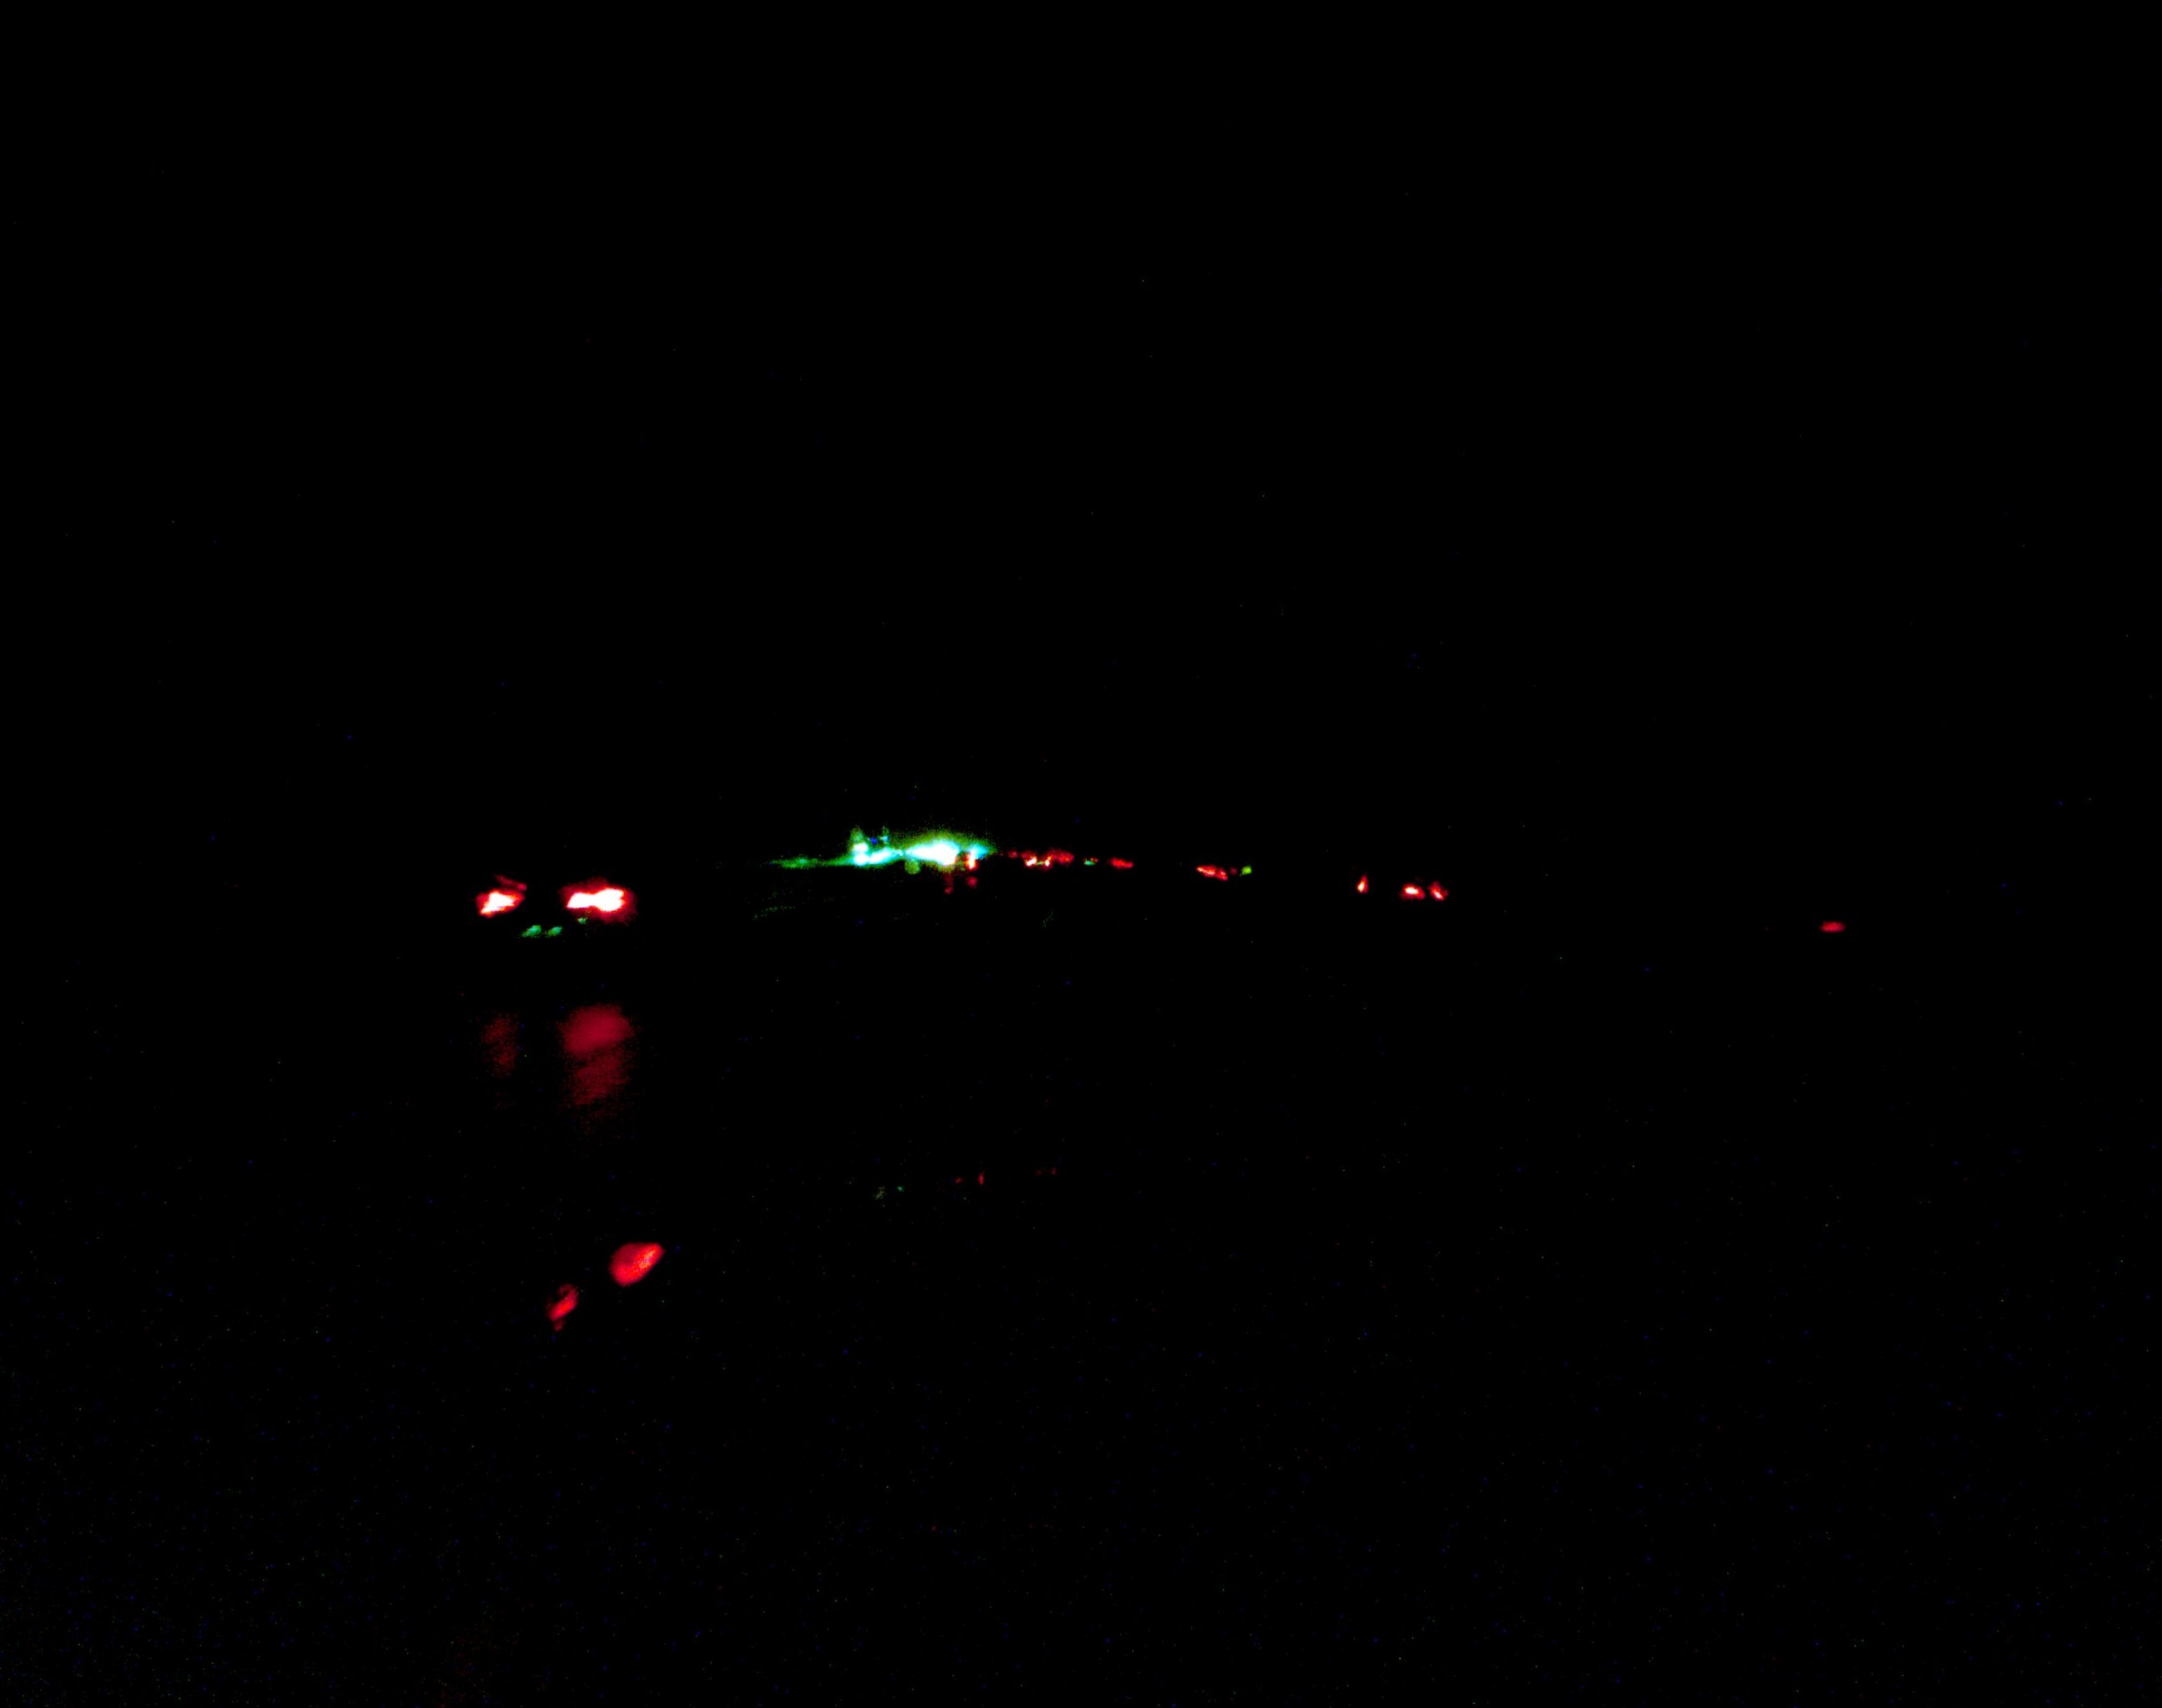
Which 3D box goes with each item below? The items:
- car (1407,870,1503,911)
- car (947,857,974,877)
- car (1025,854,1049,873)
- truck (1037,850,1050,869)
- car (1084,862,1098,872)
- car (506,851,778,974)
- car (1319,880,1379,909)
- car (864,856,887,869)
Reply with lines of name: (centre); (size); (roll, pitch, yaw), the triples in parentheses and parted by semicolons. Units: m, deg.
car: (15.634, 1.477, 34.305); (1.987, 1.449, 4.334); (2, 0, -1)
car: (-7.921, 0.864, 53.856); (1.660, 1.236, 3.752); (0, -2, -7)
car: (-3.548, 0.806, 66.487); (1.796, 1.487, 3.998); (-1, -1, -1)
truck: (-6.438, 0.989, 139.555); (1.989, 3.043, 6.456); (0, -2, -3)
car: (1.414, 1.902, 119.277); (1.580, 1.246, 3.059); (3, -1, -9)
car: (-6.505, 0.790, 12.814); (1.854, 1.541, 4.745); (-1, -1, -3)
car: (16.158, 2.412, 49.312); (1.719, 1.497, 4.031); (3, 0, -9)
car: (-21.858, 0.918, 86.811); (1.658, 1.236, 3.757); (-1, -2, -3)
